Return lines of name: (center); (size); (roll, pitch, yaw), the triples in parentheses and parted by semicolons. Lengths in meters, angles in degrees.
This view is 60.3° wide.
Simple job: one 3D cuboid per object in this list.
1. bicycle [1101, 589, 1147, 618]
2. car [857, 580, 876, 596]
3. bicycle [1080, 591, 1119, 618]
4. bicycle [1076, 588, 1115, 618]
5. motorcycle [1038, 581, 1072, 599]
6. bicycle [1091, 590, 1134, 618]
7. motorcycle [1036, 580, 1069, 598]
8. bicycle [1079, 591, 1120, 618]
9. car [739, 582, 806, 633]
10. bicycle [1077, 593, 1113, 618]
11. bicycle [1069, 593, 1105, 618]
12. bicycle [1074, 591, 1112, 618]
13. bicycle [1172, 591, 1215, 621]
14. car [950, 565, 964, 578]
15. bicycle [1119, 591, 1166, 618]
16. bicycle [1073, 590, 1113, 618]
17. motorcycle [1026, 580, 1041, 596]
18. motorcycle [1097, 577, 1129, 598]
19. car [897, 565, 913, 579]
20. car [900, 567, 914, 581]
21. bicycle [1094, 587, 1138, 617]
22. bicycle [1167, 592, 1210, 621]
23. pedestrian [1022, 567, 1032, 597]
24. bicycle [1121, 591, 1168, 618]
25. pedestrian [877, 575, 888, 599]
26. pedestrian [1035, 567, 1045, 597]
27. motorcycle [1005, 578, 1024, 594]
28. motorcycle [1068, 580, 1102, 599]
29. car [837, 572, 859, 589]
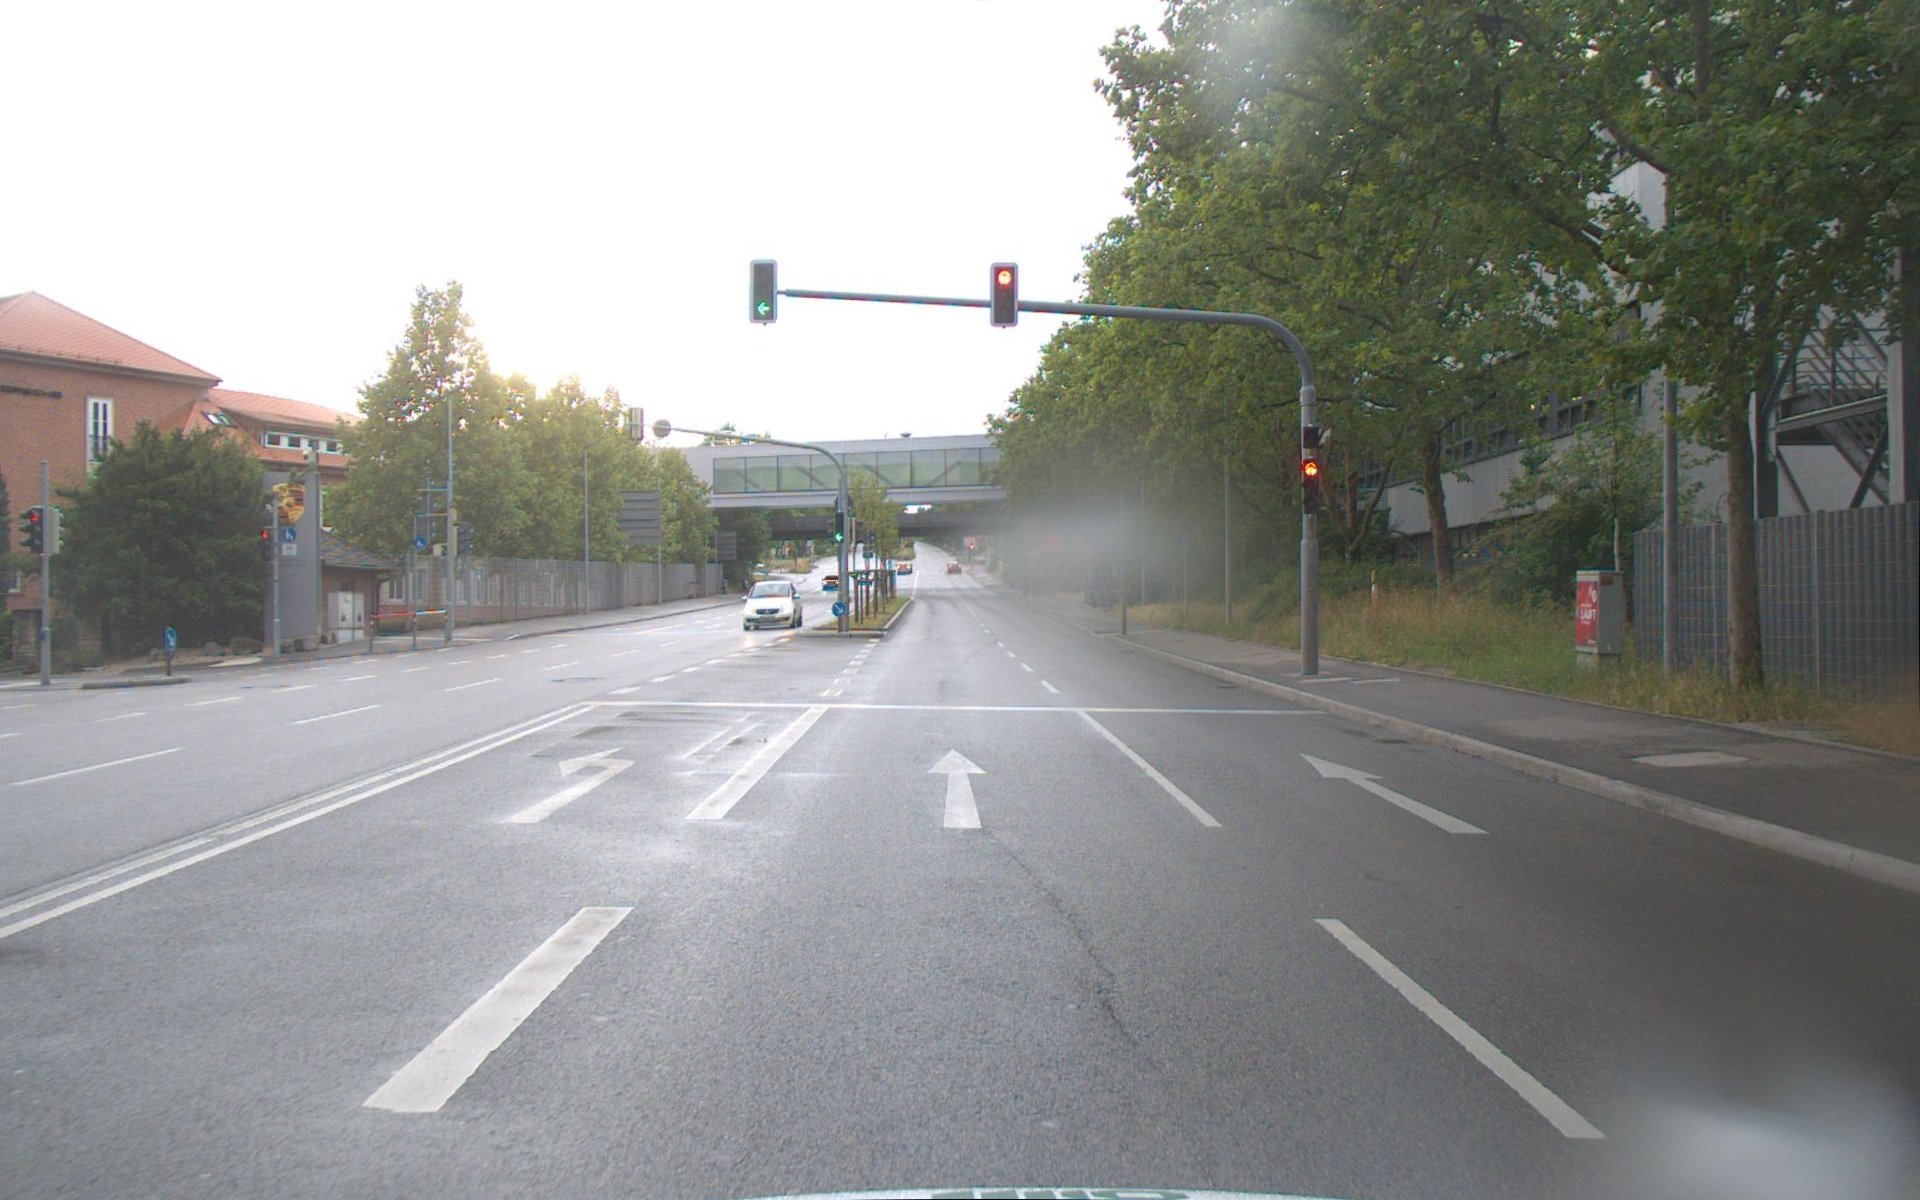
bicycle: (7.209, 0.148, 72.837); (1.949, 1.237, 0.541); (2, -1, 0)
car: (-10.067, -1.252, 178.166); (1.839, 1.653, 3.778); (-1, 0, 0)
bicycle: (7.208, 0.236, 85.363); (1.949, 1.352, 0.576); (2, -1, 0)
bicycle: (6.919, 0.166, 84.508); (1.949, 1.455, 0.723); (2, -1, 0)
motorcycle: (6.611, -0.698, 114.904); (2.318, 1.223, 0.723); (-2, 0, 7)
bicycle: (7.165, 0.192, 77.795); (1.949, 1.263, 0.541); (2, -1, 0)
motorcycle: (6.627, -0.787, 118.494); (2.318, 1.223, 0.723); (-2, 0, 7)
bicycle: (6.758, 0.207, 80.115); (1.949, 1.263, 0.541); (2, -1, 0)
car: (-6.376, 0.228, 56.651); (1.839, 1.653, 3.778); (-1, 0, 0)
bicycle: (7.587, 0.334, 92.821); (1.922, 1.352, 0.654); (2, -1, 0)
bicycle: (7.013, 0.301, 91.411); (1.922, 1.352, 0.654); (2, -1, 0)
bicycle: (7.014, 0.253, 87.310); (1.920, 1.352, 0.576); (2, -1, 0)
bicycle: (11.163, 0.288, 78.965); (1.949, 1.352, 0.576); (2, -1, 0)
car: (-0.436, -3.813, 219.859); (1.837, 1.523, 4.068); (2, -1, 0)
bicycle: (7.885, 0.213, 71.381); (1.949, 1.114, 0.541); (2, -1, 0)
bicycle: (6.662, 0.204, 82.829); (1.949, 1.352, 0.576); (2, -1, 0)
motorcycle: (6.107, -0.976, 137.379); (0.775, 1.334, 2.372); (-2, 0, -9)
motorcycle: (11.482, -0.930, 124.020); (2.318, 1.502, 0.723); (-2, 0, 7)
car: (-7.454, -3.762, 223.537); (1.953, 1.792, 3.999); (2, -1, 0)
car: (-7.318, -3.535, 229.471); (1.846, 1.792, 3.968); (2, -1, 0)
bicycle: (7.264, 0.103, 77.104); (1.949, 1.364, 0.541); (2, -1, 0)
bicycle: (11.073, 0.299, 80.130); (1.949, 1.352, 0.576); (2, -1, 0)
pedestrian: (4.634, -1.228, 114.777); (0.609, 2.049, 0.605); (-2, 0, 0)
bicycle: (7.887, 0.206, 70.812); (1.949, 1.114, 0.541); (2, -1, 0)
pedestrian: (-6.564, -1.116, 140.832); (0.834, 2.039, 0.875); (-2, 0, 0)
pedestrian: (5.538, -1.231, 114.538); (0.609, 2.049, 0.605); (-2, 0, 0)
motorcycle: (4.686, -1.206, 142.400); (0.778, 1.334, 2.364); (-2, 0, -18)
motorcycle: (8.764, -0.731, 116.165); (2.318, 1.223, 0.723); (-2, 0, 7)
car: (-10.744, -1.866, 159.510); (1.839, 1.653, 3.778); (-1, 0, 0)
